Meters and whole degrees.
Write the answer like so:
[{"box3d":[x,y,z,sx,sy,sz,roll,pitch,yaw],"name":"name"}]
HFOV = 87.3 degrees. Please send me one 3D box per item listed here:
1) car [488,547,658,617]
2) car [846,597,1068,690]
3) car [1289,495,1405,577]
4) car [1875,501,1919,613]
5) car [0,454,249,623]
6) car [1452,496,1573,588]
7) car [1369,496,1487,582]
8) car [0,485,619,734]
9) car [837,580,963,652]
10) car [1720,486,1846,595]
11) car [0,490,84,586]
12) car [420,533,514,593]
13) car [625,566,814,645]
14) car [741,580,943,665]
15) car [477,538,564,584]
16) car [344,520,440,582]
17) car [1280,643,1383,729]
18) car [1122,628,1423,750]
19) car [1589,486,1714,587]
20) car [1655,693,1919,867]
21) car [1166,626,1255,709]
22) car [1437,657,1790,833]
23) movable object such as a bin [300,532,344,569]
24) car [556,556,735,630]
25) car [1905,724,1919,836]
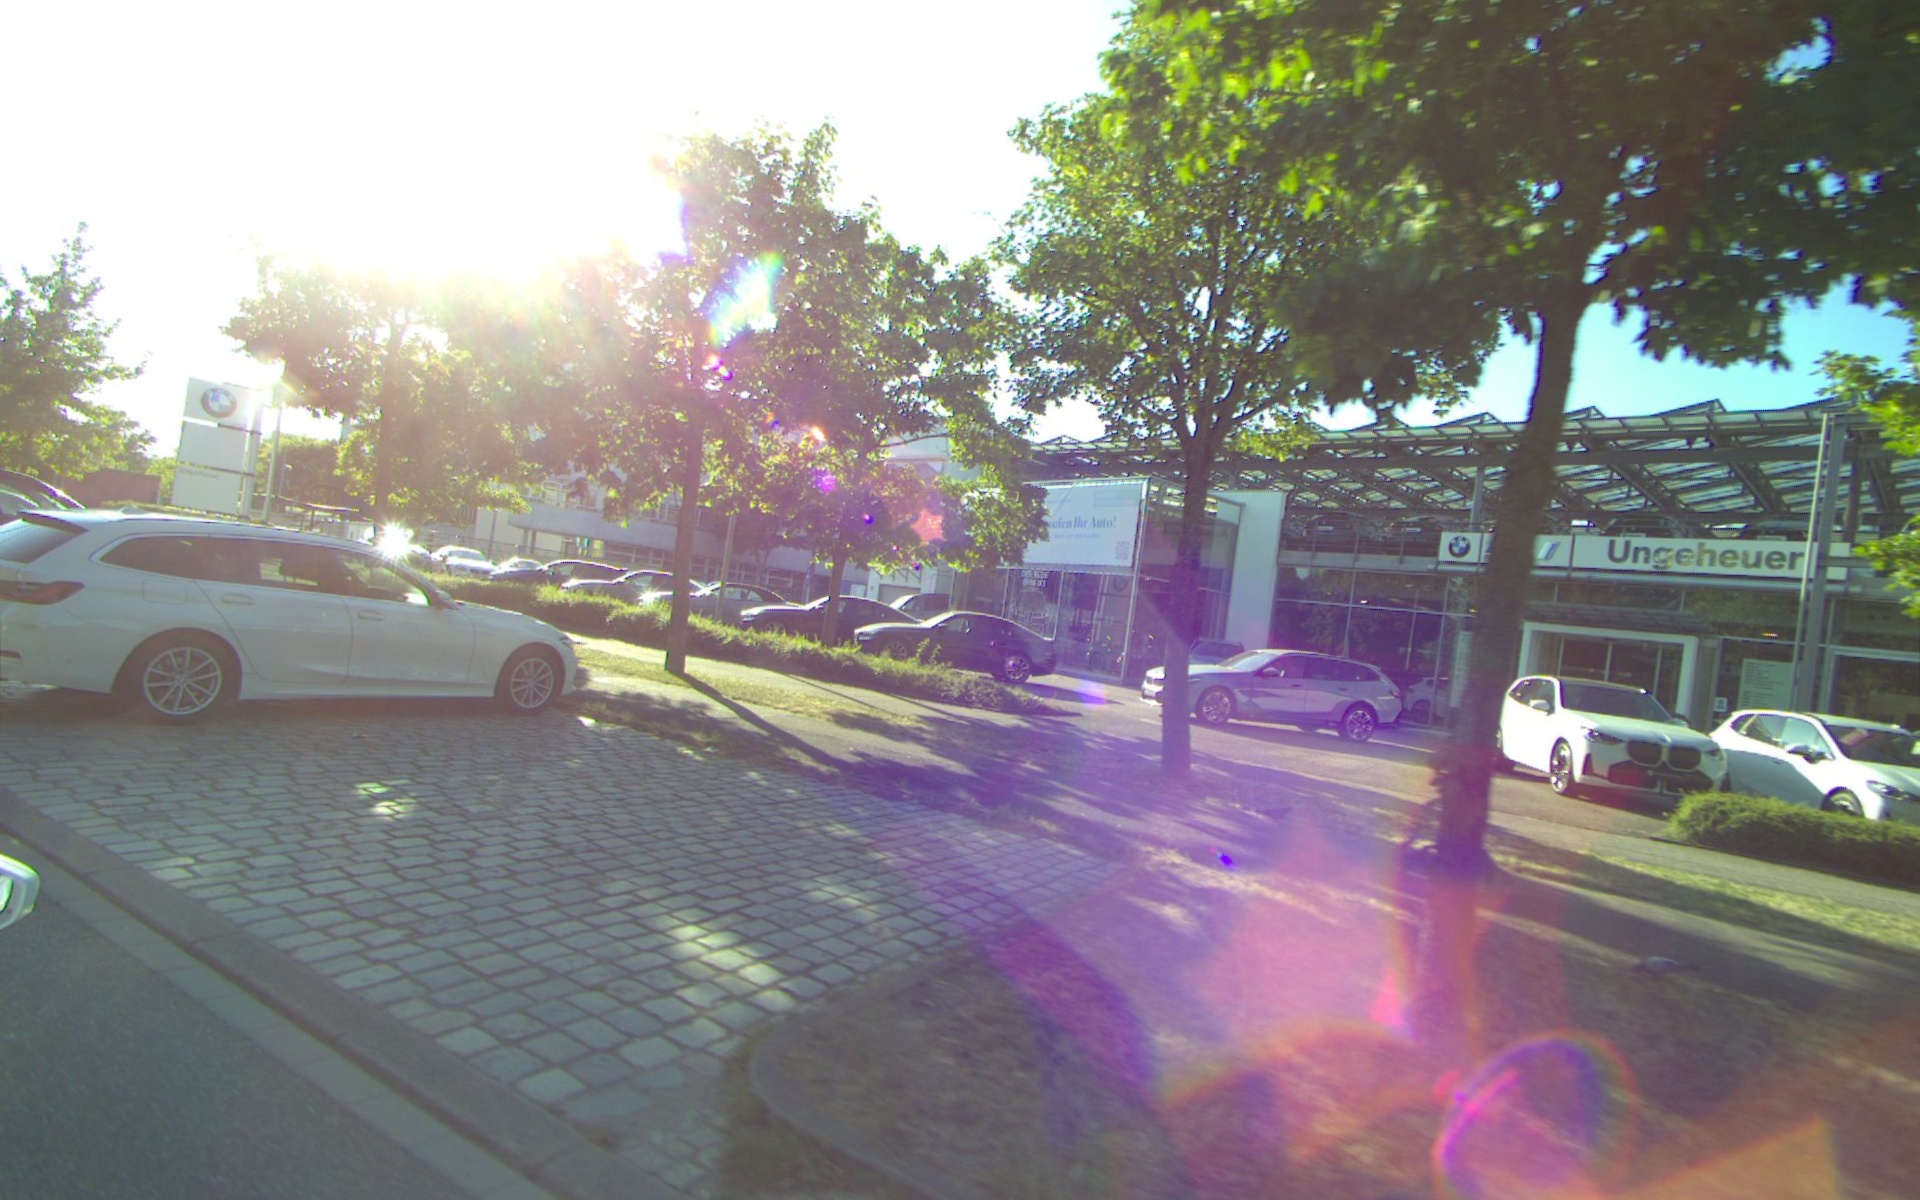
[{"box3d":[-12.014,-0.556,31.611,4.719,1.481,1.993,8,0,-17],"name":"car"},{"box3d":[-0.115,0.984,23.292,4.713,1.481,1.995,8,-1,-13],"name":"car"},{"box3d":[12.091,-1.964,31.303,1.764,1.684,3.984,8,-3,45],"name":"car"},{"box3d":[21.132,-0.835,21.733,1.764,1.684,3.984,8,-3,45],"name":"car"},{"box3d":[-12.025,-0.906,12.459,2.158,1.771,4.698,7,-1,36],"name":"car"},{"box3d":[15.319,-1.565,27.809,1.764,1.684,3.984,8,-3,45],"name":"car"},{"box3d":[13.788,-1.751,29.523,1.764,1.684,3.984,8,-3,45],"name":"car"},{"box3d":[-5.499,0.110,8.486,1.967,1.498,4.700,7,0,31],"name":"car"},{"box3d":[-2.234,0.589,37.348,4.121,2.038,1.993,8,0,-17],"name":"car"},{"box3d":[19.281,-1.348,23.504,1.764,1.684,3.983,8,-3,45],"name":"car"},{"box3d":[-16.825,-1.253,15.539,2.000,1.420,4.489,8,-1,32],"name":"car"},{"box3d":[-19.498,-1.493,39.669,2.025,1.850,4.506,8,-1,-42],"name":"car"},{"box3d":[-6.570,0.160,27.525,4.719,1.481,1.993,8,-1,-17],"name":"car"},{"box3d":[-3.021,0.562,25.552,4.719,1.481,1.993,8,-1,-17],"name":"car"},{"box3d":[-18.850,-1.689,43.076,2.024,1.449,4.506,8,0,-42],"name":"car"},{"box3d":[-21.545,-1.903,38.073,2.025,1.850,4.917,8,-1,-42],"name":"car"},{"box3d":[9.654,2.195,26.511,1.962,1.795,4.793,7,-1,16],"name":"car"},{"box3d":[5.977,1.701,19.431,5.108,1.590,1.995,8,-1,-13],"name":"car"},{"box3d":[17.520,-1.566,25.409,1.764,1.684,3.983,8,-3,45],"name":"car"},{"box3d":[11.941,2.363,13.647,1.962,1.593,4.606,7,0,5],"name":"car"},{"box3d":[6.882,1.803,27.423,1.962,1.795,4.793,7,-1,16],"name":"car"},{"box3d":[9.442,1.978,15.199,2.365,1.711,4.730,7,0,5],"name":"car"},{"box3d":[-25.455,-1.973,40.146,1.023,1.283,1.117,7,-1,39],"name":"movable object such as a bin"},{"box3d":[-9.168,-0.187,29.557,4.719,1.481,2.039,8,-1,-17],"name":"car"},{"box3d":[14.436,2.643,12.068,1.962,1.593,4.606,7,0,5],"name":"car"}]
